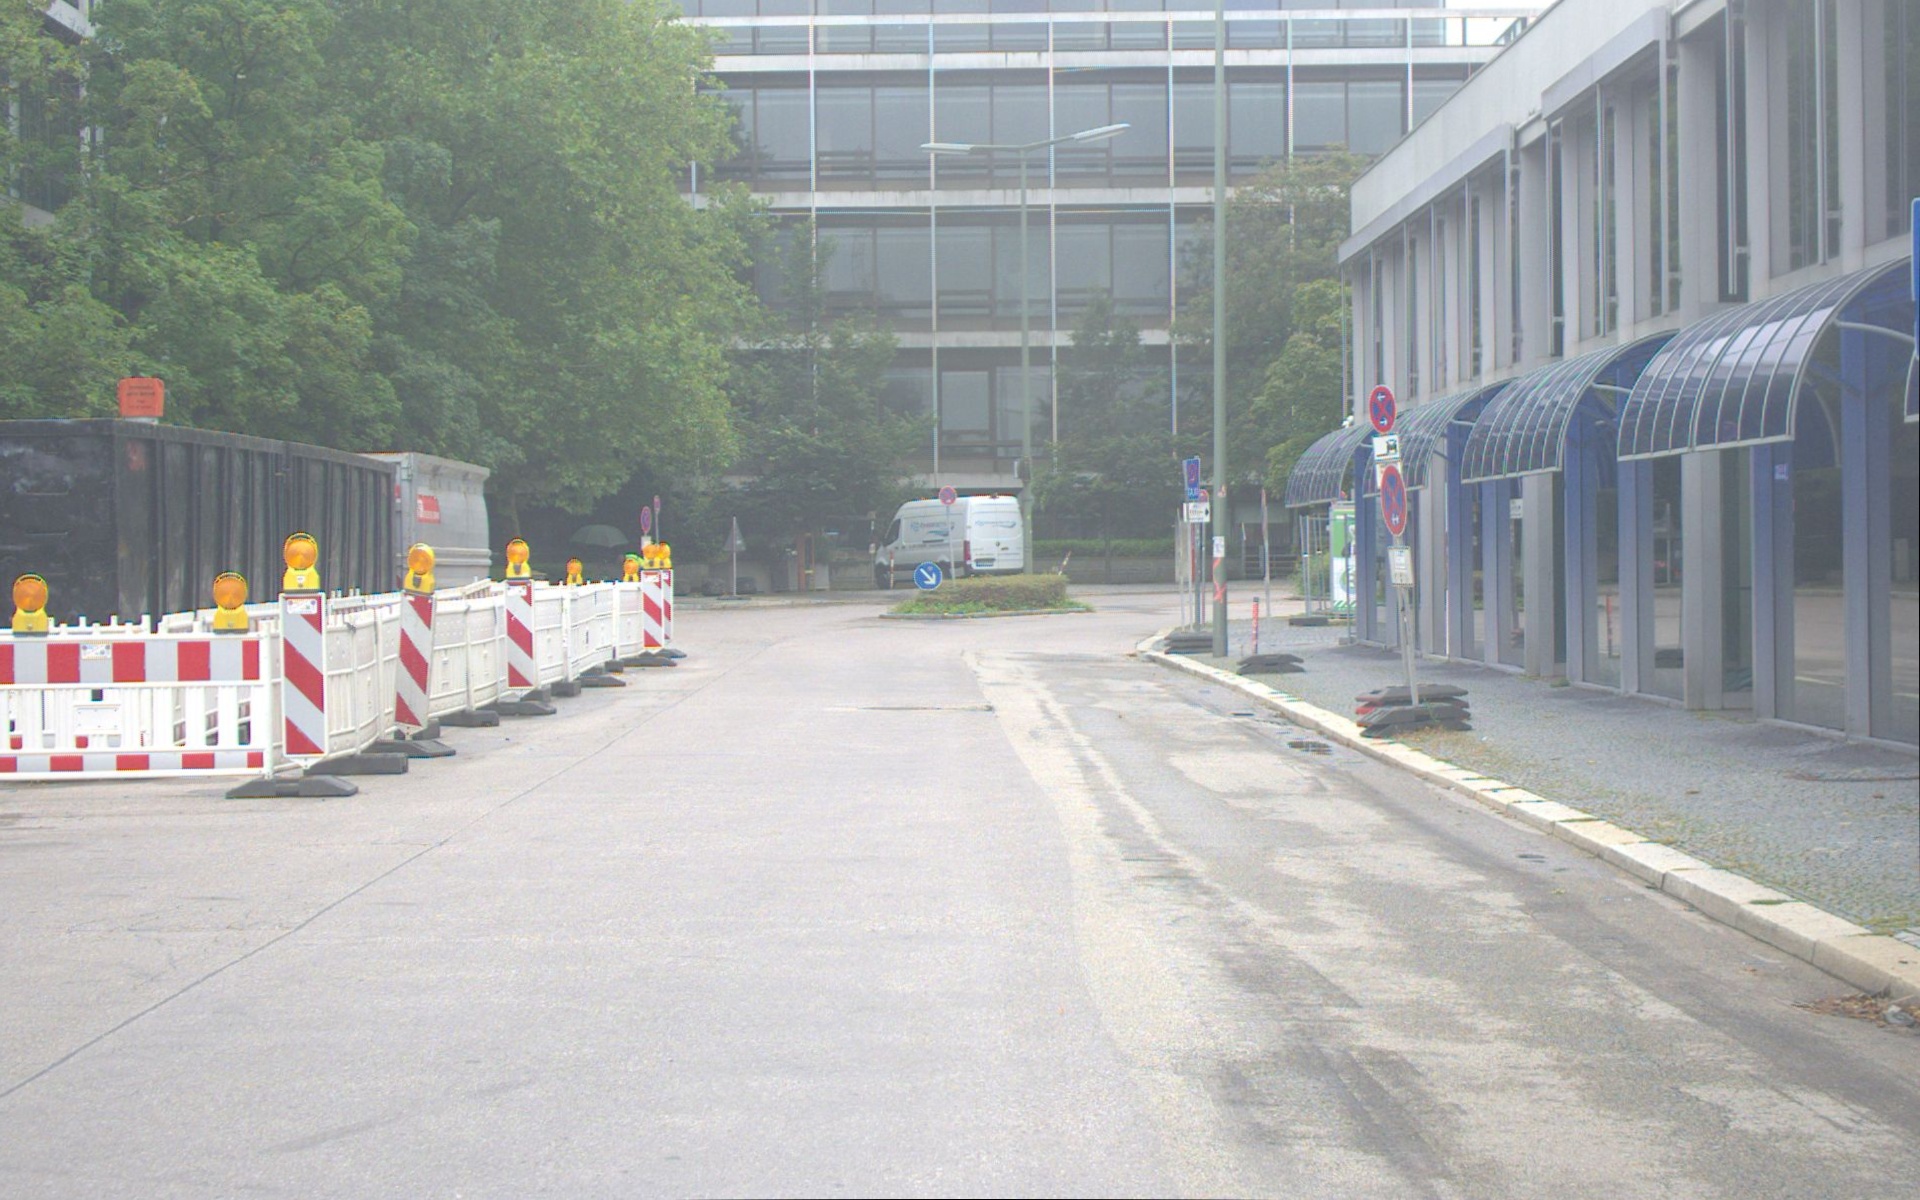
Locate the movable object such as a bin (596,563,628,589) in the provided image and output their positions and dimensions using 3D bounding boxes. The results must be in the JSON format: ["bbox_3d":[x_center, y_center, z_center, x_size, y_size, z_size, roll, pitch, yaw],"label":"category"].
[{"bbox_3d":[-9.898,-0.684,97.724,0.834,0.751,0.572,0,1,2],"label":"movable object such as a bin"}]

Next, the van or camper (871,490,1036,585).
[{"bbox_3d":[-0.257,-1.770,99.887,2.155,2.572,6.540,0,0,-26],"label":"van or camper"}]

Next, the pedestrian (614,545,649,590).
[{"bbox_3d":[-9.331,-0.934,97.756,0.926,1.273,0.542,0,1,2],"label":"pedestrian"}]
